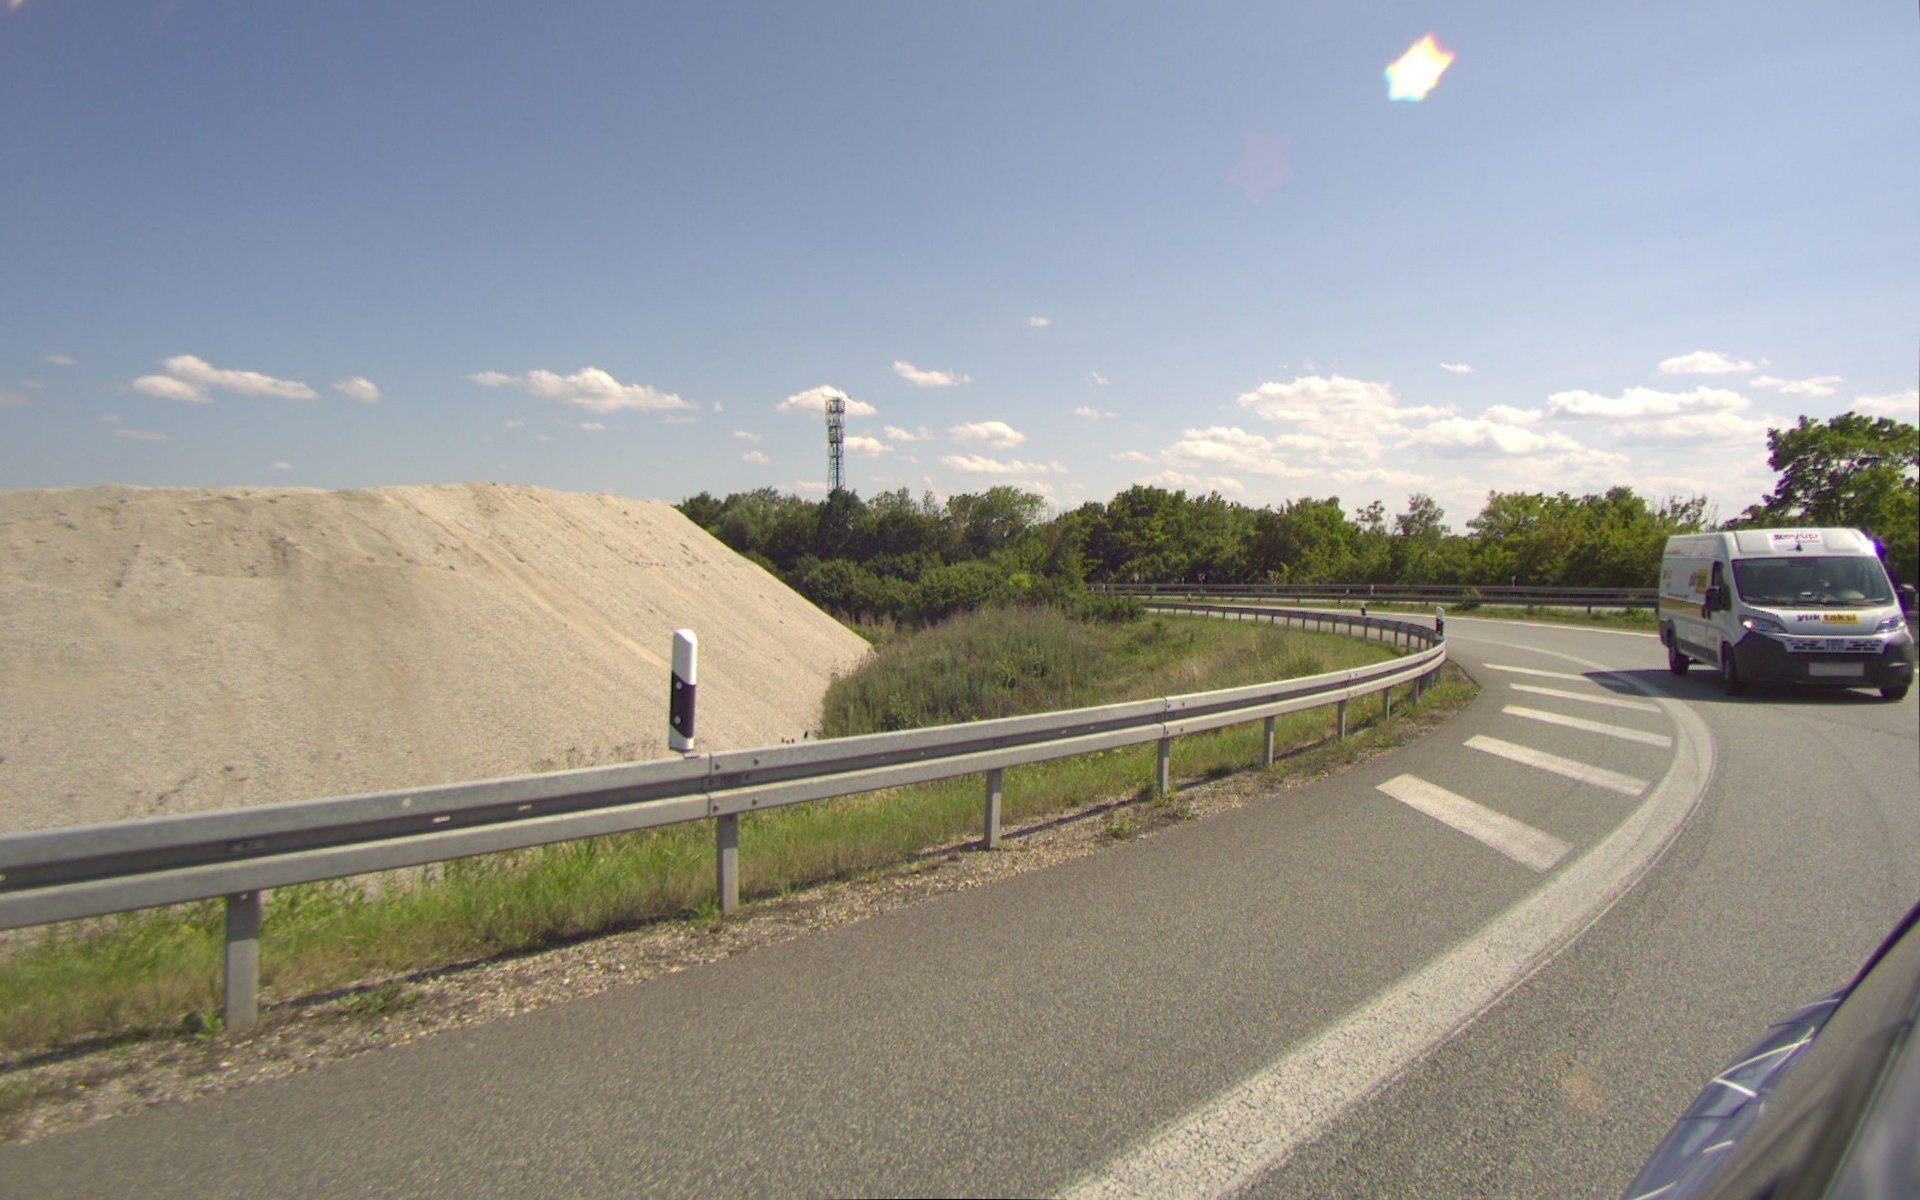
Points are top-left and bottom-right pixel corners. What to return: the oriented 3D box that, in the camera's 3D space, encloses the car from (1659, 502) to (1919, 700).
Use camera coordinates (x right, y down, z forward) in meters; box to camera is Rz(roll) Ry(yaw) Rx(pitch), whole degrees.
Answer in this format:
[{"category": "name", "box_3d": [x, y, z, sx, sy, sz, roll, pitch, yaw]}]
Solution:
[{"category": "car", "box_3d": [13.141, -0.054, 16.340, 2.068, 2.555, 6.181, -4, 0, 27]}]
